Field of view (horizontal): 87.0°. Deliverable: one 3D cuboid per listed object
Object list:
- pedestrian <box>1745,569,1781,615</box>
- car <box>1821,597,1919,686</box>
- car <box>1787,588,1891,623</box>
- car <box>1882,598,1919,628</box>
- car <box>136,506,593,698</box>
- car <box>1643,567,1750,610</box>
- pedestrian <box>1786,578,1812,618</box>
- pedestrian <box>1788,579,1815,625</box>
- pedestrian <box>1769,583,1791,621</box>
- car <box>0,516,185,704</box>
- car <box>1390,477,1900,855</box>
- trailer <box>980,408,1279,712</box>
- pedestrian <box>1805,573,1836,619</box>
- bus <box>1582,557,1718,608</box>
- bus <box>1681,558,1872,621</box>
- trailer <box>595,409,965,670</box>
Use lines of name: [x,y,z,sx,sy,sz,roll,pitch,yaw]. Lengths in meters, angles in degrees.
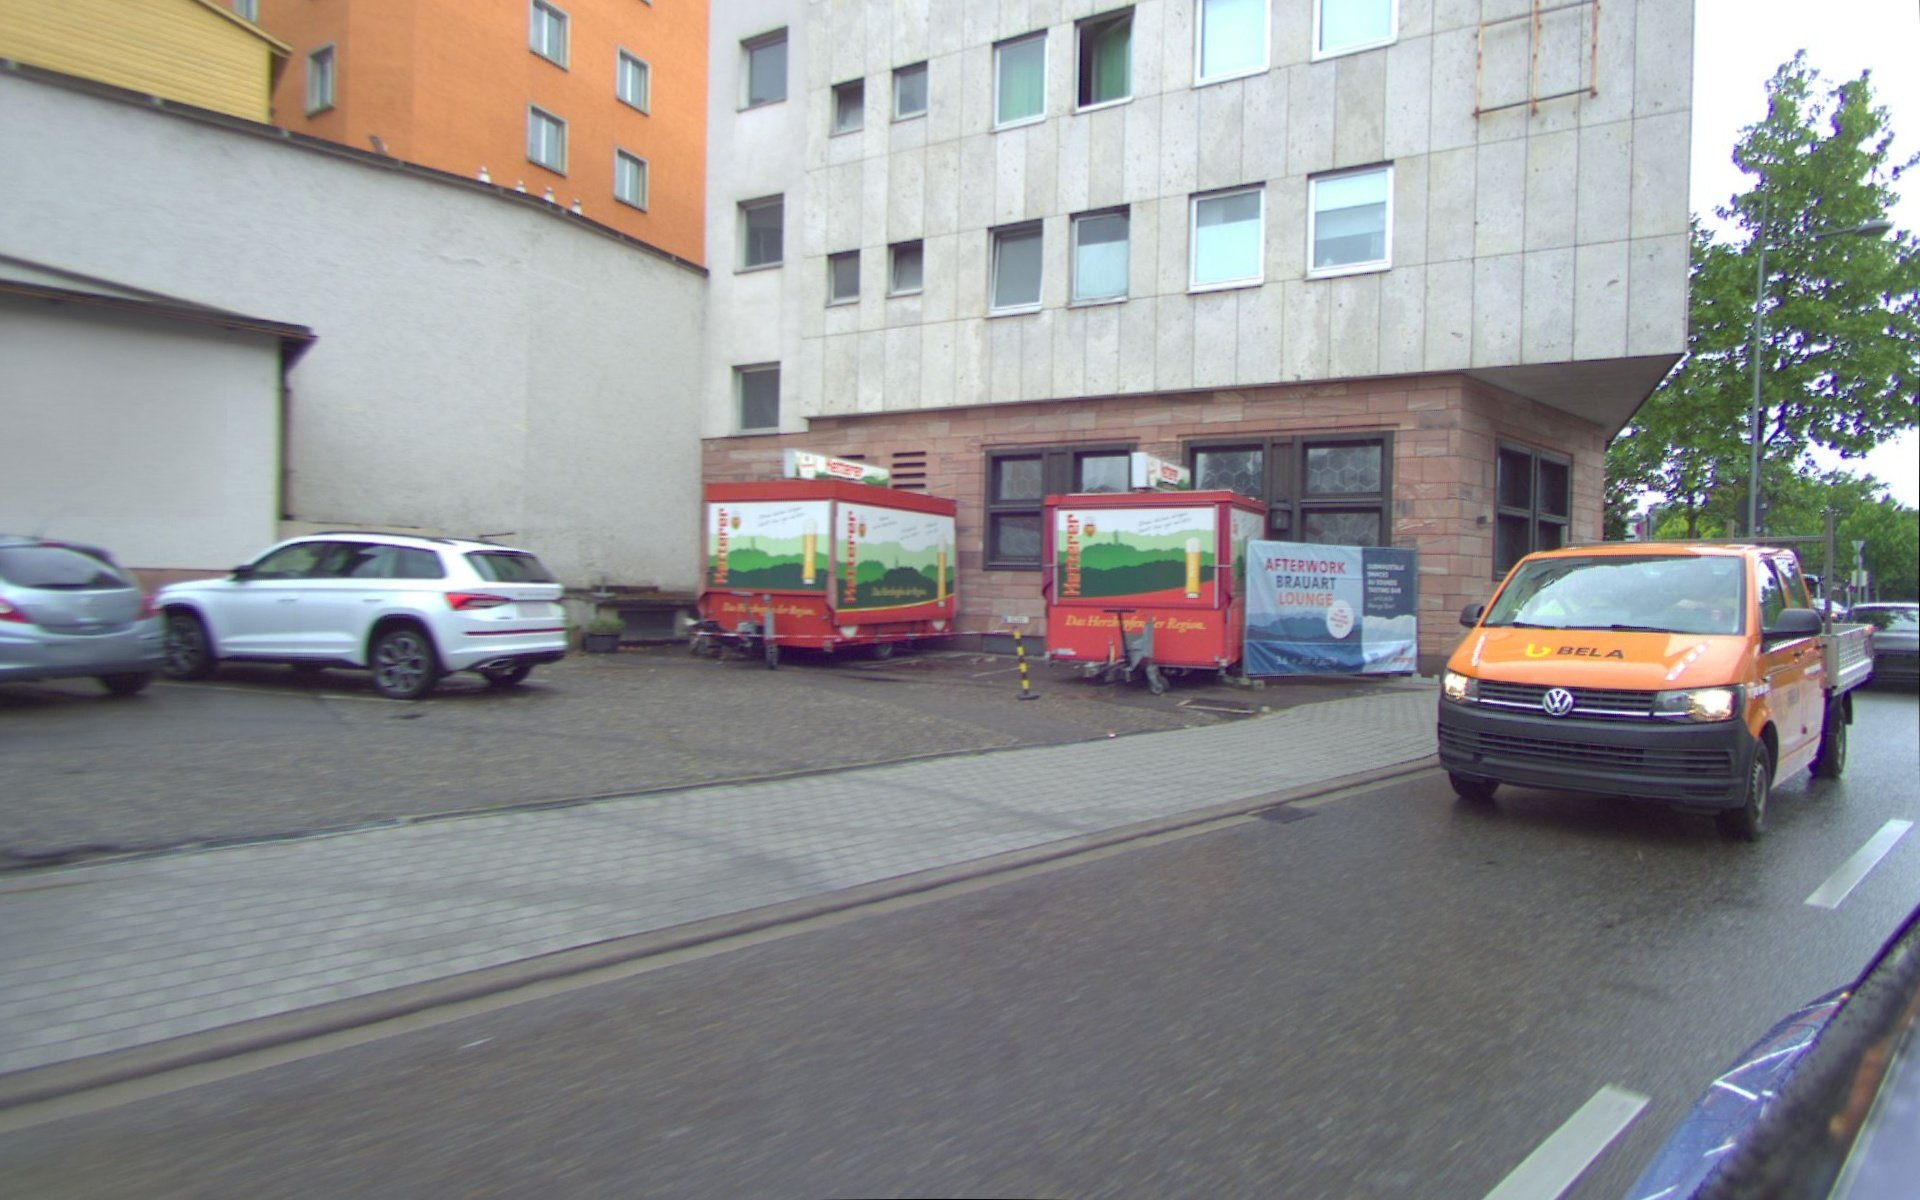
pedestrian: [31.826,-0.316,40.118,0.564,1.705,0.961,5,5,13]
car: [16.721,0.668,18.002,1.887,1.422,4.302,1,1,37]
car: [43.065,0.234,49.718,1.765,1.390,4.091,3,3,6]
car: [84.235,1.221,89.182,4.907,2.348,1.979,3,2,-17]
car: [-6.560,-0.035,11.334,4.209,1.669,1.862,4,2,11]
car: [44.412,-0.786,61.270,2.217,2.261,6.335,3,3,6]
pedestrian: [35.590,-0.112,42.953,0.598,1.618,0.699,7,5,31]
pedestrian: [38.363,0.095,46.151,0.583,2.037,0.781,5,3,25]
pedestrian: [37.864,0.083,46.744,0.553,1.726,0.524,6,3,26]
car: [-9.385,-0.051,9.219,3.781,1.417,1.640,4,4,12]
car: [5.842,0.352,8.260,5.445,2.115,2.106,1,1,-41]
trailer: [2.611,-0.584,13.820,2.608,3.214,5.672,4,3,23]
pedestrian: [36.184,-0.169,42.561,0.738,1.851,0.686,7,4,32]
bus: [49.178,-1.359,72.499,2.632,3.219,8.580,2,3,-10]
bus: [50.891,-0.794,63.605,2.649,3.255,9.683,4,3,-12]
trailer: [-2.532,-0.881,16.293,2.725,3.348,6.014,3,2,27]
